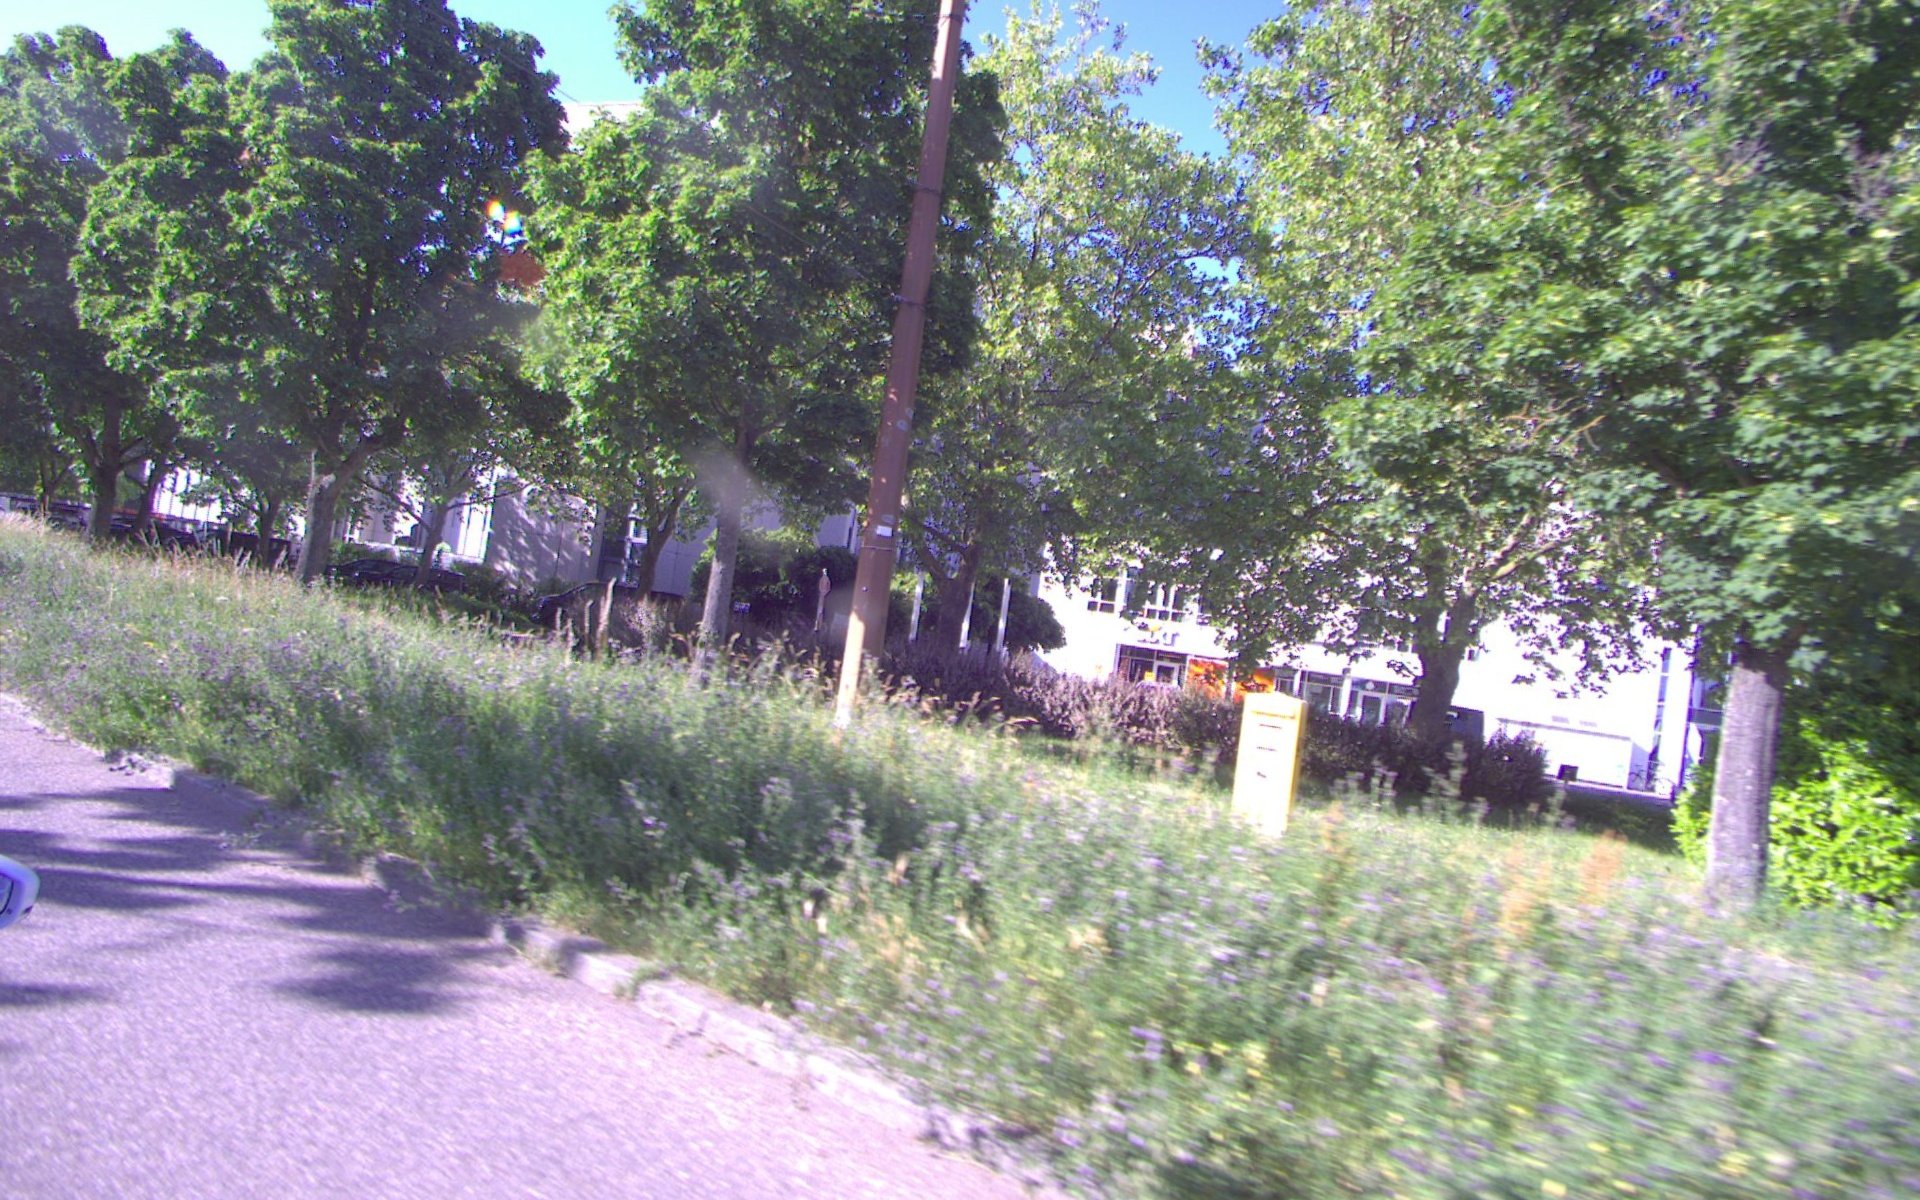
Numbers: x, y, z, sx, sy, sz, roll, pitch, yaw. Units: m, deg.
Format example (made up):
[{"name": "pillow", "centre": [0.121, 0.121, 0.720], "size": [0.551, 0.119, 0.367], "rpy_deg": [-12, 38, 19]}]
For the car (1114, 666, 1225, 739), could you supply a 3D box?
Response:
[{"name": "car", "centre": [6.135, 2.986, 29.063], "size": [1.862, 1.704, 4.471], "rpy_deg": [6, -3, 27]}]

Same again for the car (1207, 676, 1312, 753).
[{"name": "car", "centre": [8.381, 3.188, 27.903], "size": [1.862, 1.704, 4.471], "rpy_deg": [6, -3, 27]}]

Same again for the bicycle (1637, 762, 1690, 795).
[{"name": "bicycle", "centre": [28.771, 7.289, 41.152], "size": [1.591, 1.015, 0.567], "rpy_deg": [7, -2, 18]}]

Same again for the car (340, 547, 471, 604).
[{"name": "car", "centre": [-21.941, -0.931, 40.019], "size": [4.178, 1.573, 1.919], "rpy_deg": [9, -2, -22]}]

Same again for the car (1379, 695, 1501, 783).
[{"name": "car", "centre": [12.462, 3.547, 26.447], "size": [2.052, 1.776, 4.905], "rpy_deg": [7, -3, 18]}]

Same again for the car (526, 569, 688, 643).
[{"name": "car", "centre": [-11.893, 0.248, 34.091], "size": [4.870, 1.822, 1.812], "rpy_deg": [8, -3, -20]}]

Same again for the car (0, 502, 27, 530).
[{"name": "car", "centre": [-62.014, -5.601, 63.048], "size": [1.965, 1.573, 4.646], "rpy_deg": [7, -3, 27]}]

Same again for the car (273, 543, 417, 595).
[{"name": "car", "centre": [-25.063, -1.234, 41.203], "size": [4.626, 1.342, 2.082], "rpy_deg": [9, -3, -23]}]
